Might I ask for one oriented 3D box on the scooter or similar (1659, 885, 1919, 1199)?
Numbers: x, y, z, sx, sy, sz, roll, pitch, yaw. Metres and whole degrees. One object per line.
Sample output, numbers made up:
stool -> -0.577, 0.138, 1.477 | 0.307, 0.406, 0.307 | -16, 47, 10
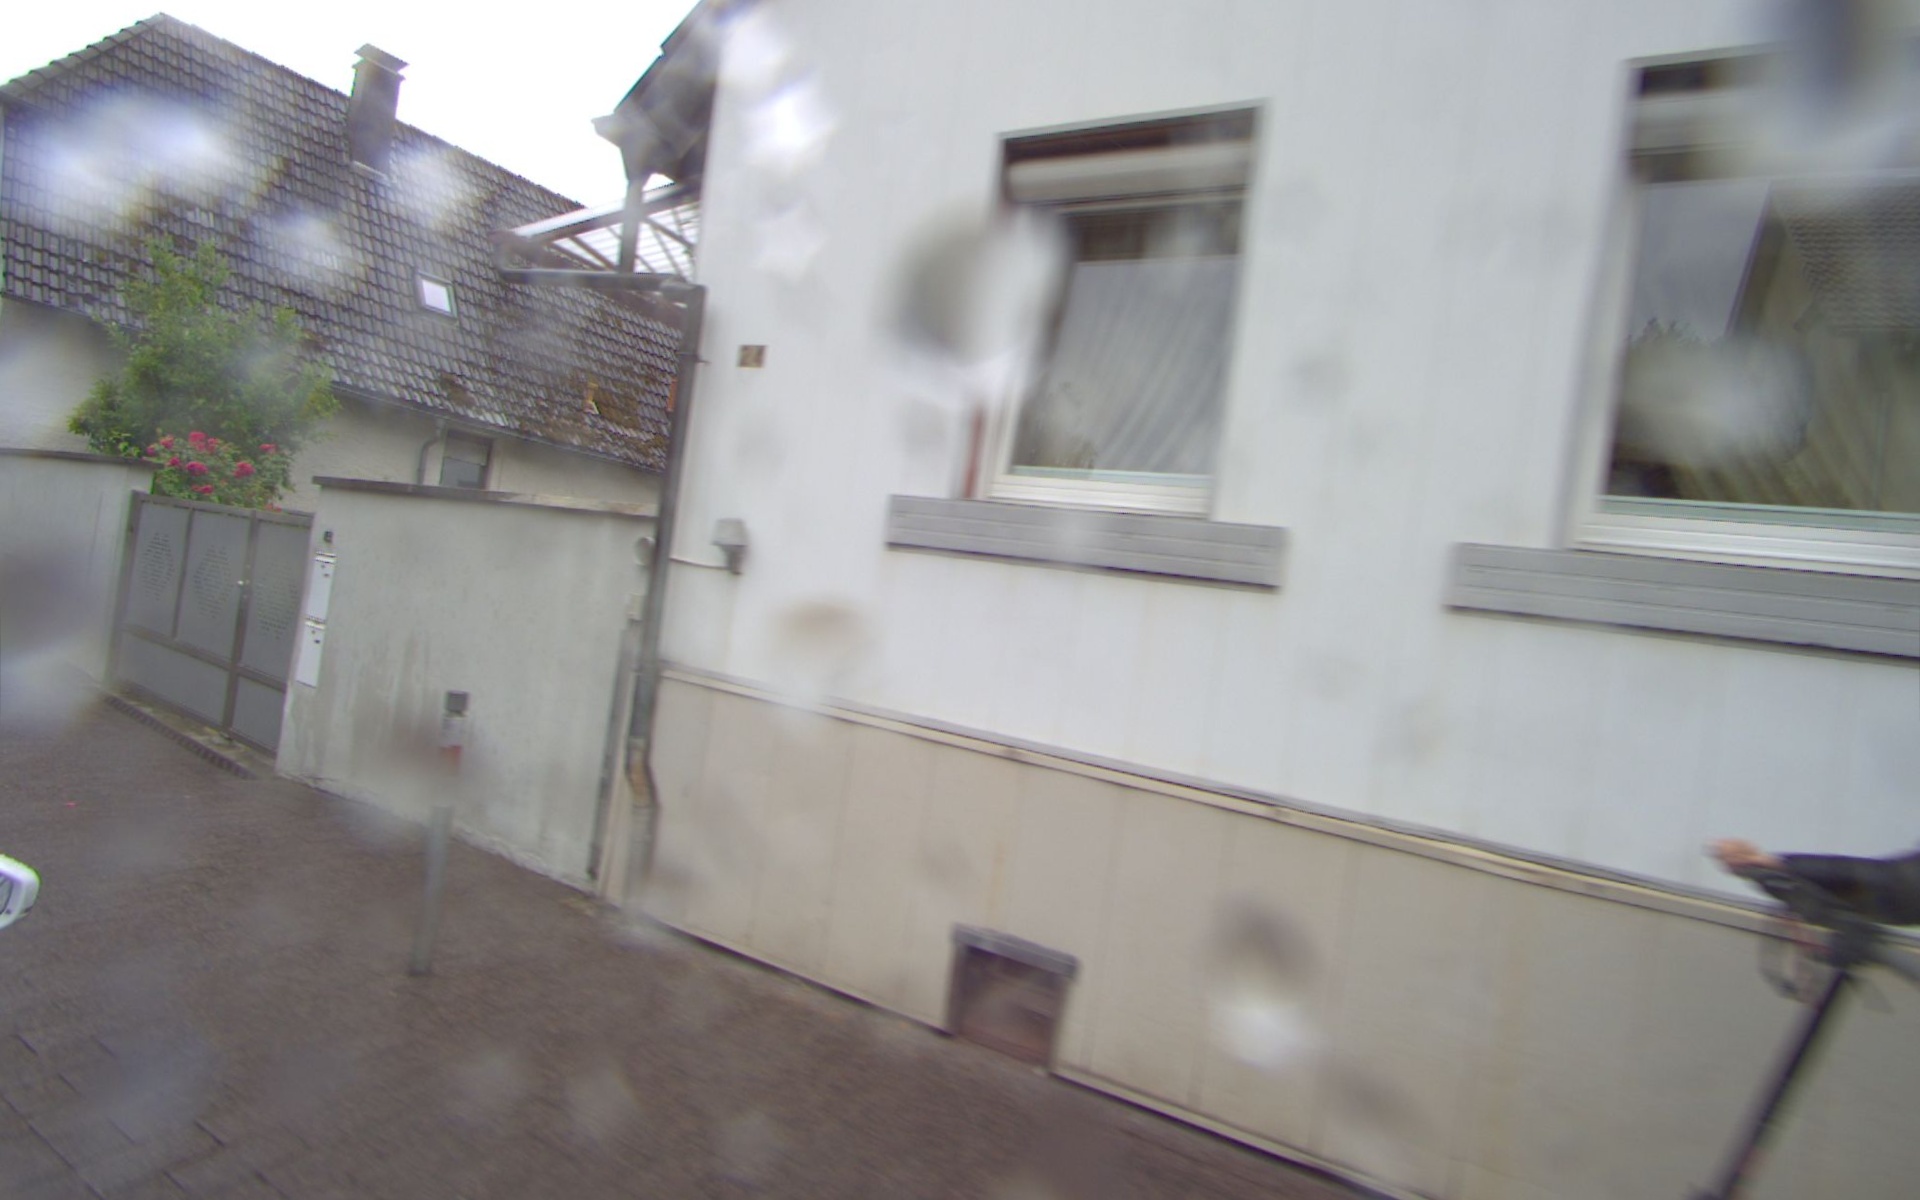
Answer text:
scooter or similar -> 2.014, 1.211, 1.897 | 1.081, 1.041, 0.245 | 8, 1, 30

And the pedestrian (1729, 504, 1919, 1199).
pedestrian -> 1.813, 0.802, 1.560 | 0.807, 1.752, 0.696 | 8, -1, 30
